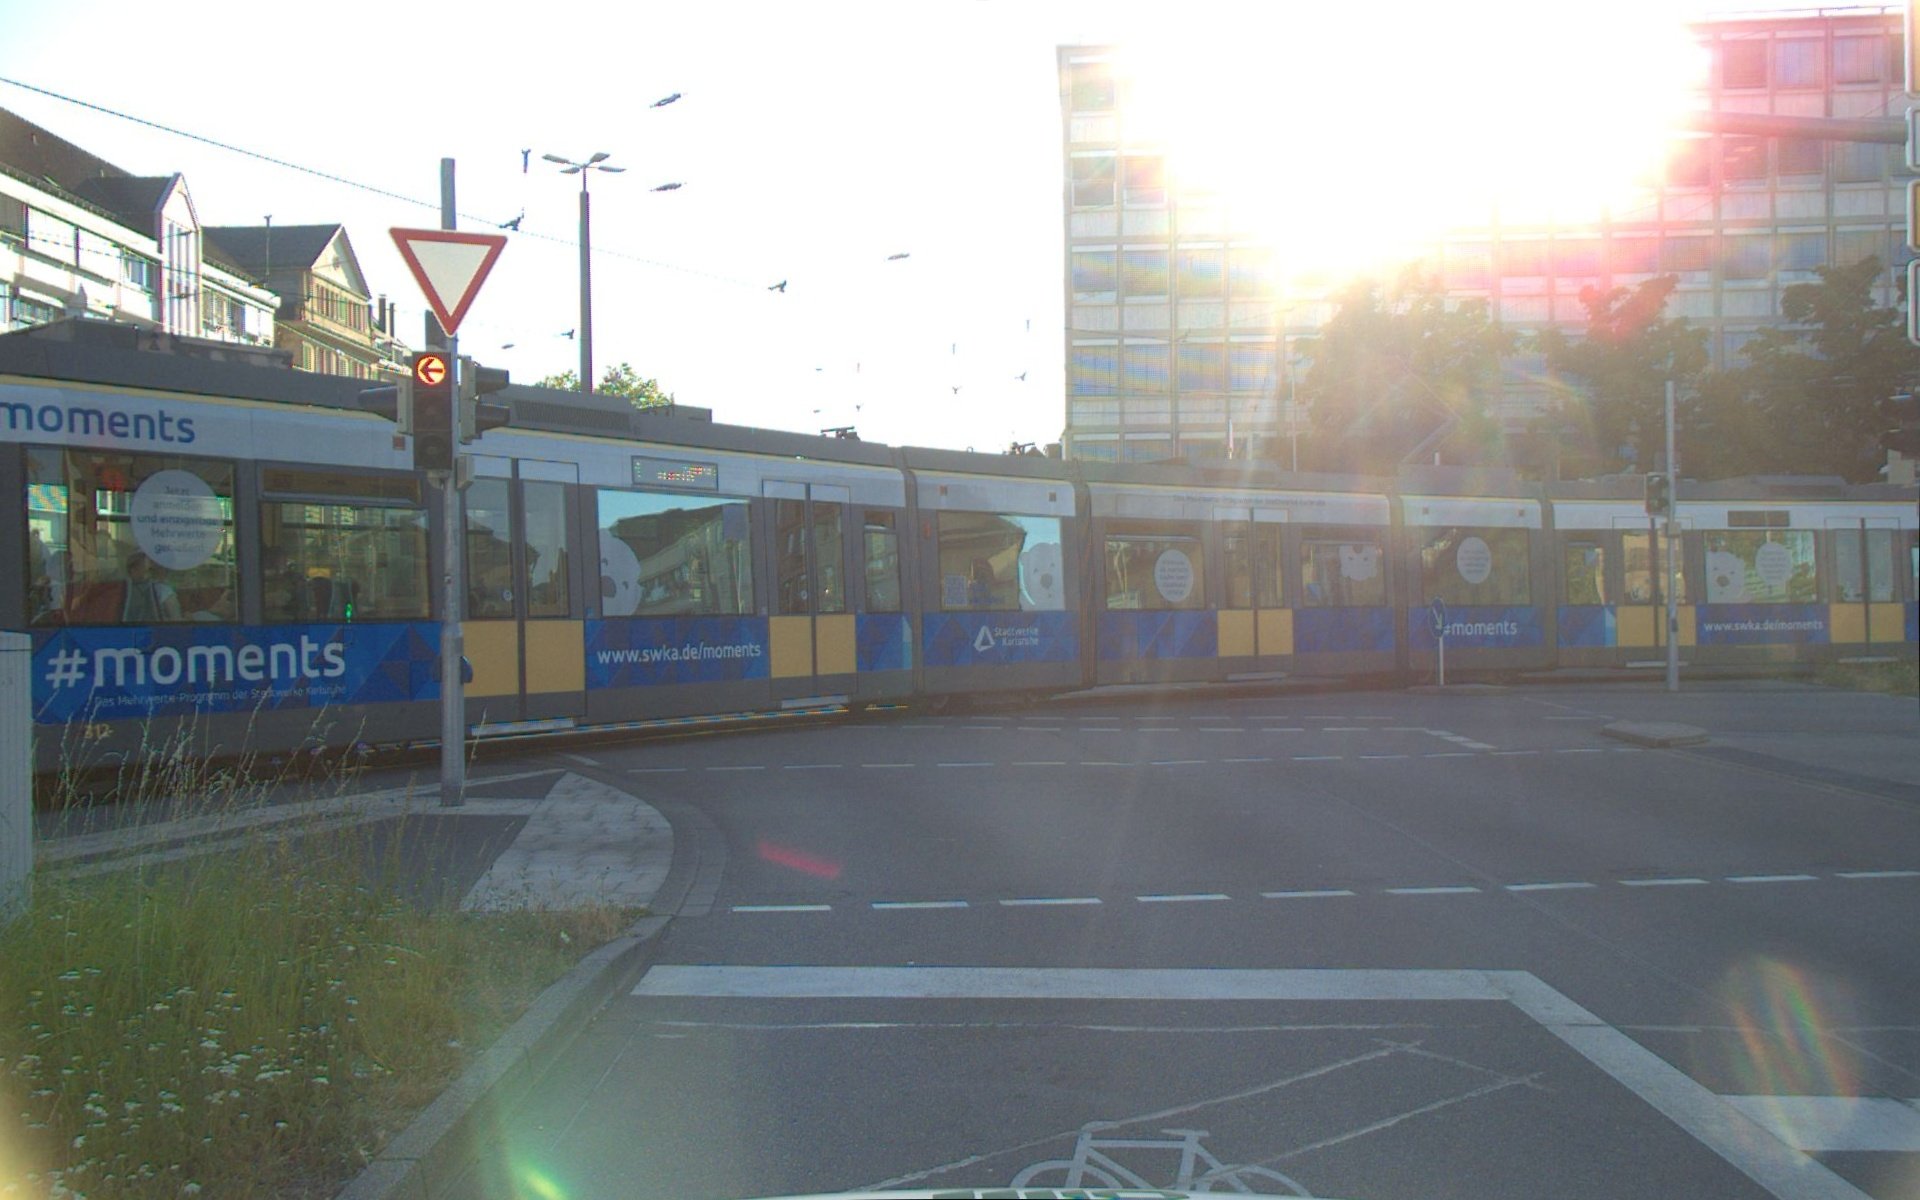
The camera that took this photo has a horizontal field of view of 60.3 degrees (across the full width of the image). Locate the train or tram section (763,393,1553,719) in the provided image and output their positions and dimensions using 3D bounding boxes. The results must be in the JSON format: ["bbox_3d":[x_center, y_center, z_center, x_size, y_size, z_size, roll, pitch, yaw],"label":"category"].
[{"bbox_3d":[3.542,-0.645,25.069,12.833,3.900,3.669,-1,1,-36],"label":"train or tram section"}]

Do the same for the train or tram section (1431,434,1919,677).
[{"bbox_3d":[15.302,-0.639,30.238,12.715,3.901,3.703,1,0,-14],"label":"train or tram section"}]

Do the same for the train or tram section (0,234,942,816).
[{"bbox_3d":[-5.456,-0.491,15.761,3.639,3.901,13.317,-1,0,34],"label":"train or tram section"}]
